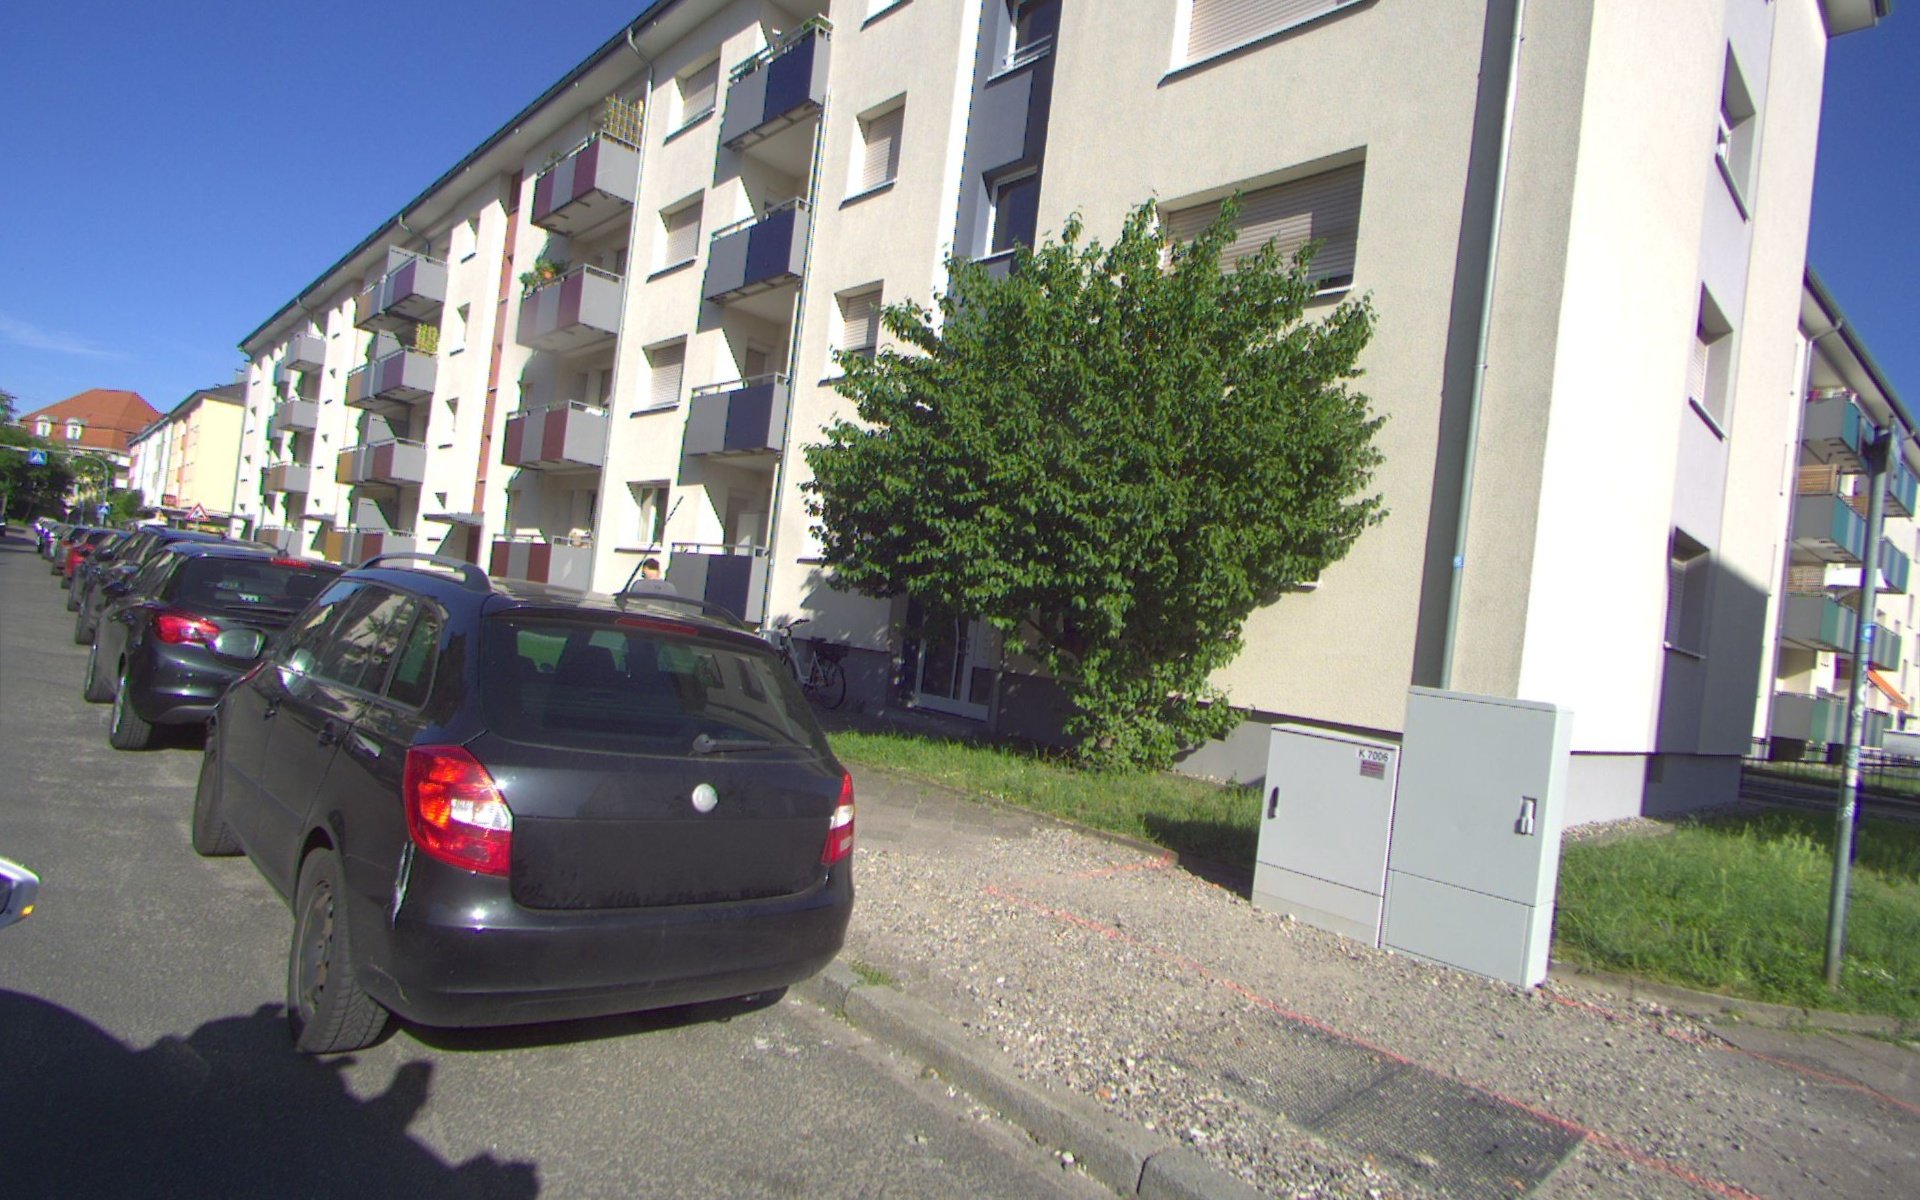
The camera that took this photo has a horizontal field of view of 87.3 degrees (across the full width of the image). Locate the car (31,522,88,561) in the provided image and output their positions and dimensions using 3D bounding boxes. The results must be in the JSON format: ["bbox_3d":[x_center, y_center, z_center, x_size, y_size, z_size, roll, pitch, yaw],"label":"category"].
[{"bbox_3d":[-41.991,-2.750,46.917,1.786,1.488,4.288,8,-2,-42],"label":"car"}]

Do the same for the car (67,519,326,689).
[{"bbox_3d":[-9.275,-0.022,12.077,4.200,1.577,1.749,5,-3,44],"label":"car"}]

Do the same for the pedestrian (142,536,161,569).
[{"bbox_3d":[-37.300,-2.205,46.411,0.573,1.452,0.466,5,1,-42],"label":"pedestrian"}]

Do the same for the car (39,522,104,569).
[{"bbox_3d":[-35.348,-2.173,40.006,1.685,1.483,3.540,11,-4,-42],"label":"car"}]

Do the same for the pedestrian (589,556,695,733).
[{"bbox_3d":[-3.425,0.470,10.829,0.642,1.792,0.832,7,-1,-39],"label":"pedestrian"}]

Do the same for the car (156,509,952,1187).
[{"bbox_3d":[-2.082,0.546,4.330,4.034,1.567,1.614,4,-2,45],"label":"car"}]

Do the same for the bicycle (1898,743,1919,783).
[{"bbox_3d":[28.062,4.773,29.421,2.056,1.056,0.502,7,-2,-37],"label":"bicycle"}]

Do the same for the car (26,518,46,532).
[{"bbox_3d":[-112.443,-9.123,122.398,1.633,1.457,3.377,8,-2,-44],"label":"car"}]

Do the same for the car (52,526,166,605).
[{"bbox_3d":[-19.635,-0.830,23.187,1.746,1.461,4.471,8,-2,-42],"label":"car"}]

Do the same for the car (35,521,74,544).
[{"bbox_3d":[-67.563,-5.042,75.041,3.375,1.457,1.841,5,-2,45],"label":"car"}]

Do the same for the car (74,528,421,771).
[{"bbox_3d":[-5.923,0.301,8.177,1.601,1.501,3.750,8,-2,-45],"label":"car"}]

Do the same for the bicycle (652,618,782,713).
[{"bbox_3d":[-3.328,0.854,13.622,2.253,1.024,0.484,5,0,43],"label":"bicycle"}]

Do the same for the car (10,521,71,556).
[{"bbox_3d":[-50.064,-3.340,54.732,4.712,1.540,1.852,4,-3,41],"label":"car"}]

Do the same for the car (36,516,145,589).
[{"bbox_3d":[-24.555,-1.376,28.350,1.895,1.640,4.545,10,-3,-45],"label":"car"}]

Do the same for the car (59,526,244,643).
[{"bbox_3d":[-13.224,-0.299,16.366,4.028,1.498,1.749,5,-3,44],"label":"car"}]

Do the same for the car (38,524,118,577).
[{"bbox_3d":[-32.242,-1.825,36.754,3.770,1.476,1.687,5,-8,44],"label":"car"}]

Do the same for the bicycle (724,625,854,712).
[{"bbox_3d":[-2.476,0.958,14.347,2.253,0.972,0.484,5,0,43],"label":"bicycle"}]

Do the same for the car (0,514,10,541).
[{"bbox_3d":[-62.230,-4.753,64.371,1.815,1.653,4.207,7,-1,-42],"label":"car"}]
